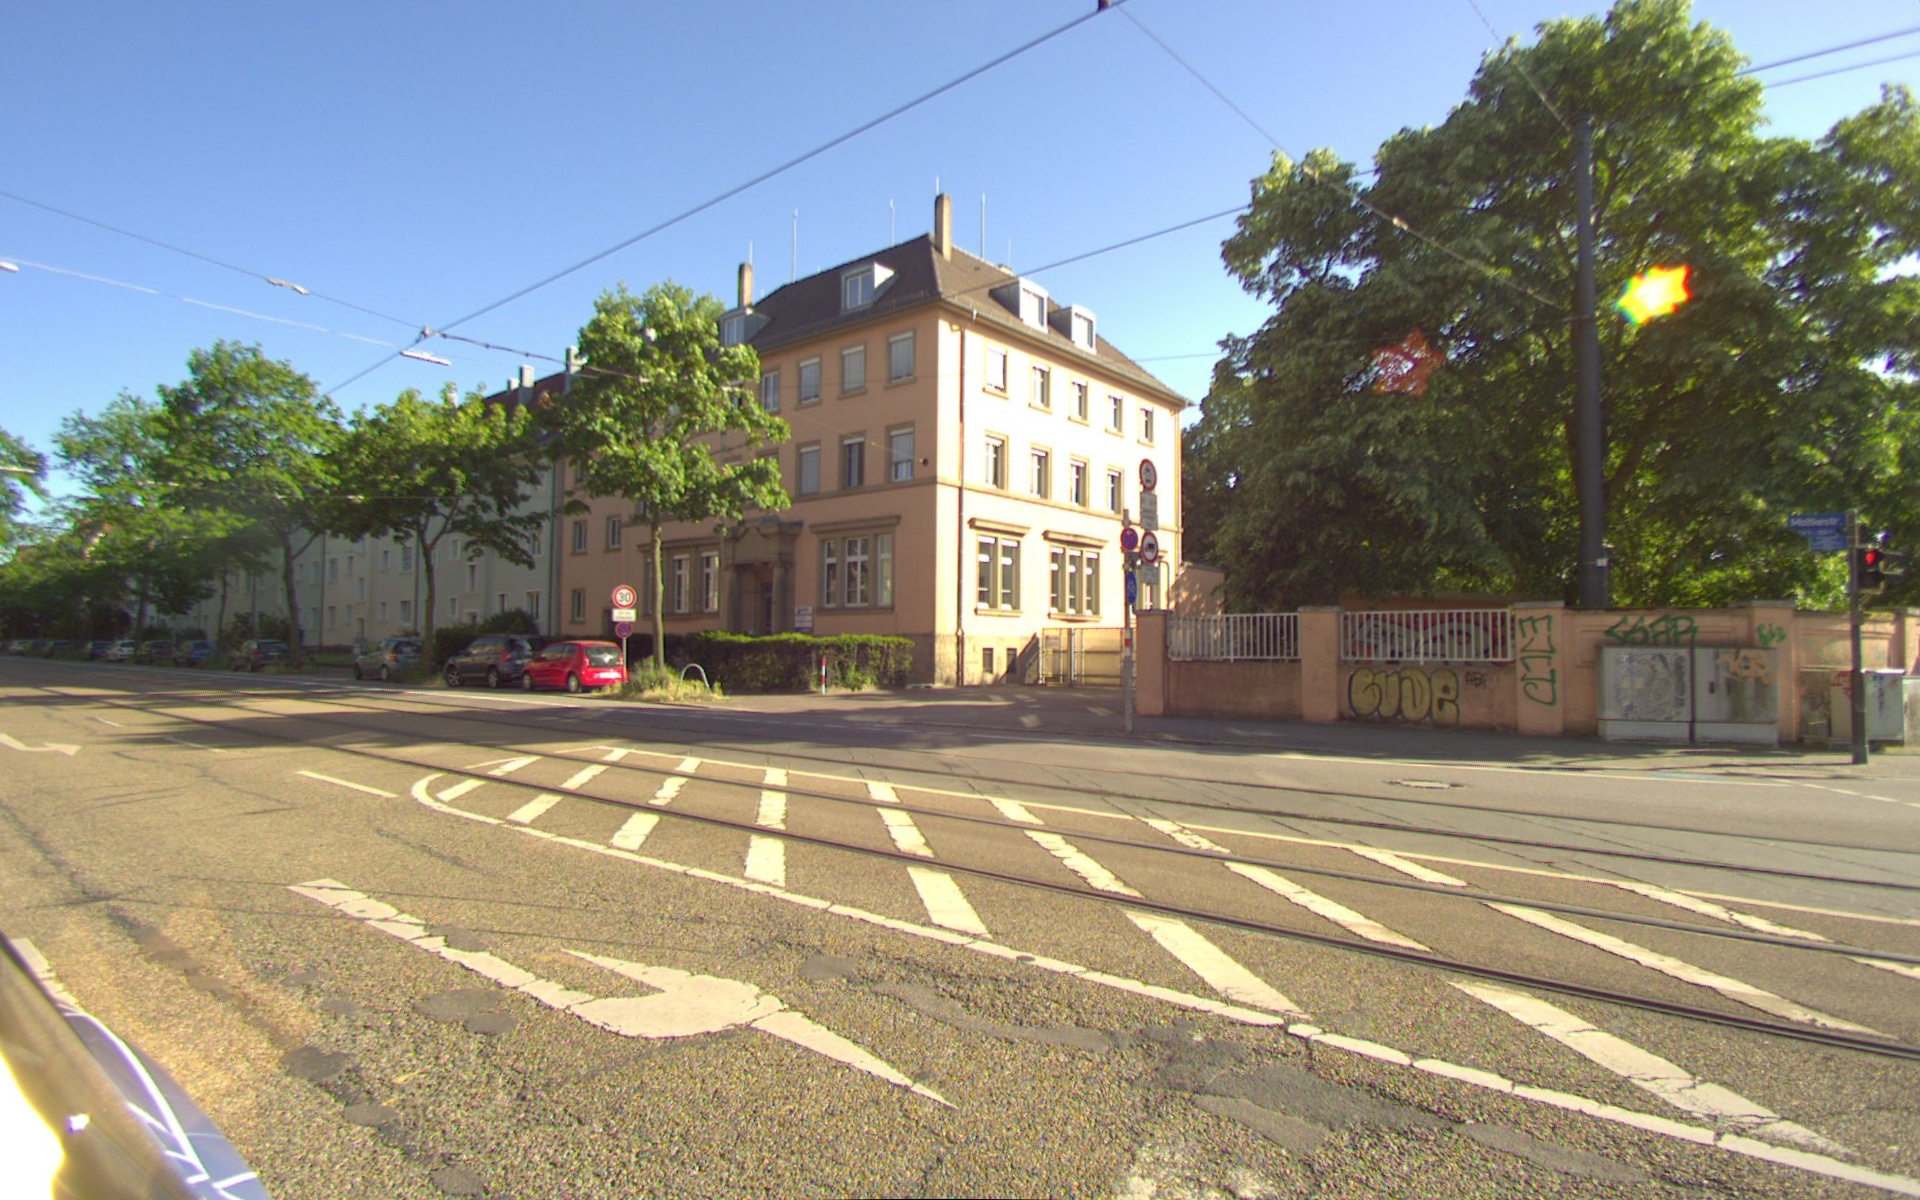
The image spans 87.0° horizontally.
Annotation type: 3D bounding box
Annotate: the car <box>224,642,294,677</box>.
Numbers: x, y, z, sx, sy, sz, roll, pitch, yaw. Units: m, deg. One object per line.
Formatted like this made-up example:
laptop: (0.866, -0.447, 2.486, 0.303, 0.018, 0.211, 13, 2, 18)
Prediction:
car: (-33.729, 2.845, 48.682, 3.626, 1.611, 1.793, -2, -4, 39)

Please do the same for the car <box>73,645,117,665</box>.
car: (-63.473, 4.008, 74.233, 3.626, 1.430, 1.793, -2, -4, 39)

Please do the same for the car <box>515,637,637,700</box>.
car: (-11.188, 1.955, 29.456, 3.369, 1.719, 1.794, -2, -4, 37)

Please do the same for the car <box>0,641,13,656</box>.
car: (-102.850, 5.206, 108.151, 3.626, 1.535, 1.793, -2, -4, 39)

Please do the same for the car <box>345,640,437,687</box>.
car: (-21.444, 2.371, 38.082, 3.874, 1.671, 1.792, -2, -4, 41)

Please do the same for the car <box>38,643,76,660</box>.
car: (-76.119, 4.356, 85.326, 3.626, 1.430, 1.793, -2, -4, 39)

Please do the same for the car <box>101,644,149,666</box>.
car: (-56.584, 3.736, 68.572, 3.626, 1.430, 1.793, -2, -4, 39)

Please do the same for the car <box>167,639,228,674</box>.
car: (-42.636, 3.146, 56.550, 3.791, 1.839, 1.793, -2, -4, 39)

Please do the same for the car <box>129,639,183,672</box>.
car: (-49.567, 3.394, 62.396, 3.626, 1.956, 1.793, -2, -4, 39)

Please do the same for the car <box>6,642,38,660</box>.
car: (-93.634, 5.070, 101.042, 3.626, 1.792, 1.793, -2, -4, 39)

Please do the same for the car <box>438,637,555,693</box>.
car: (-14.817, 2.051, 32.293, 3.813, 1.671, 1.794, -2, -4, 37)
